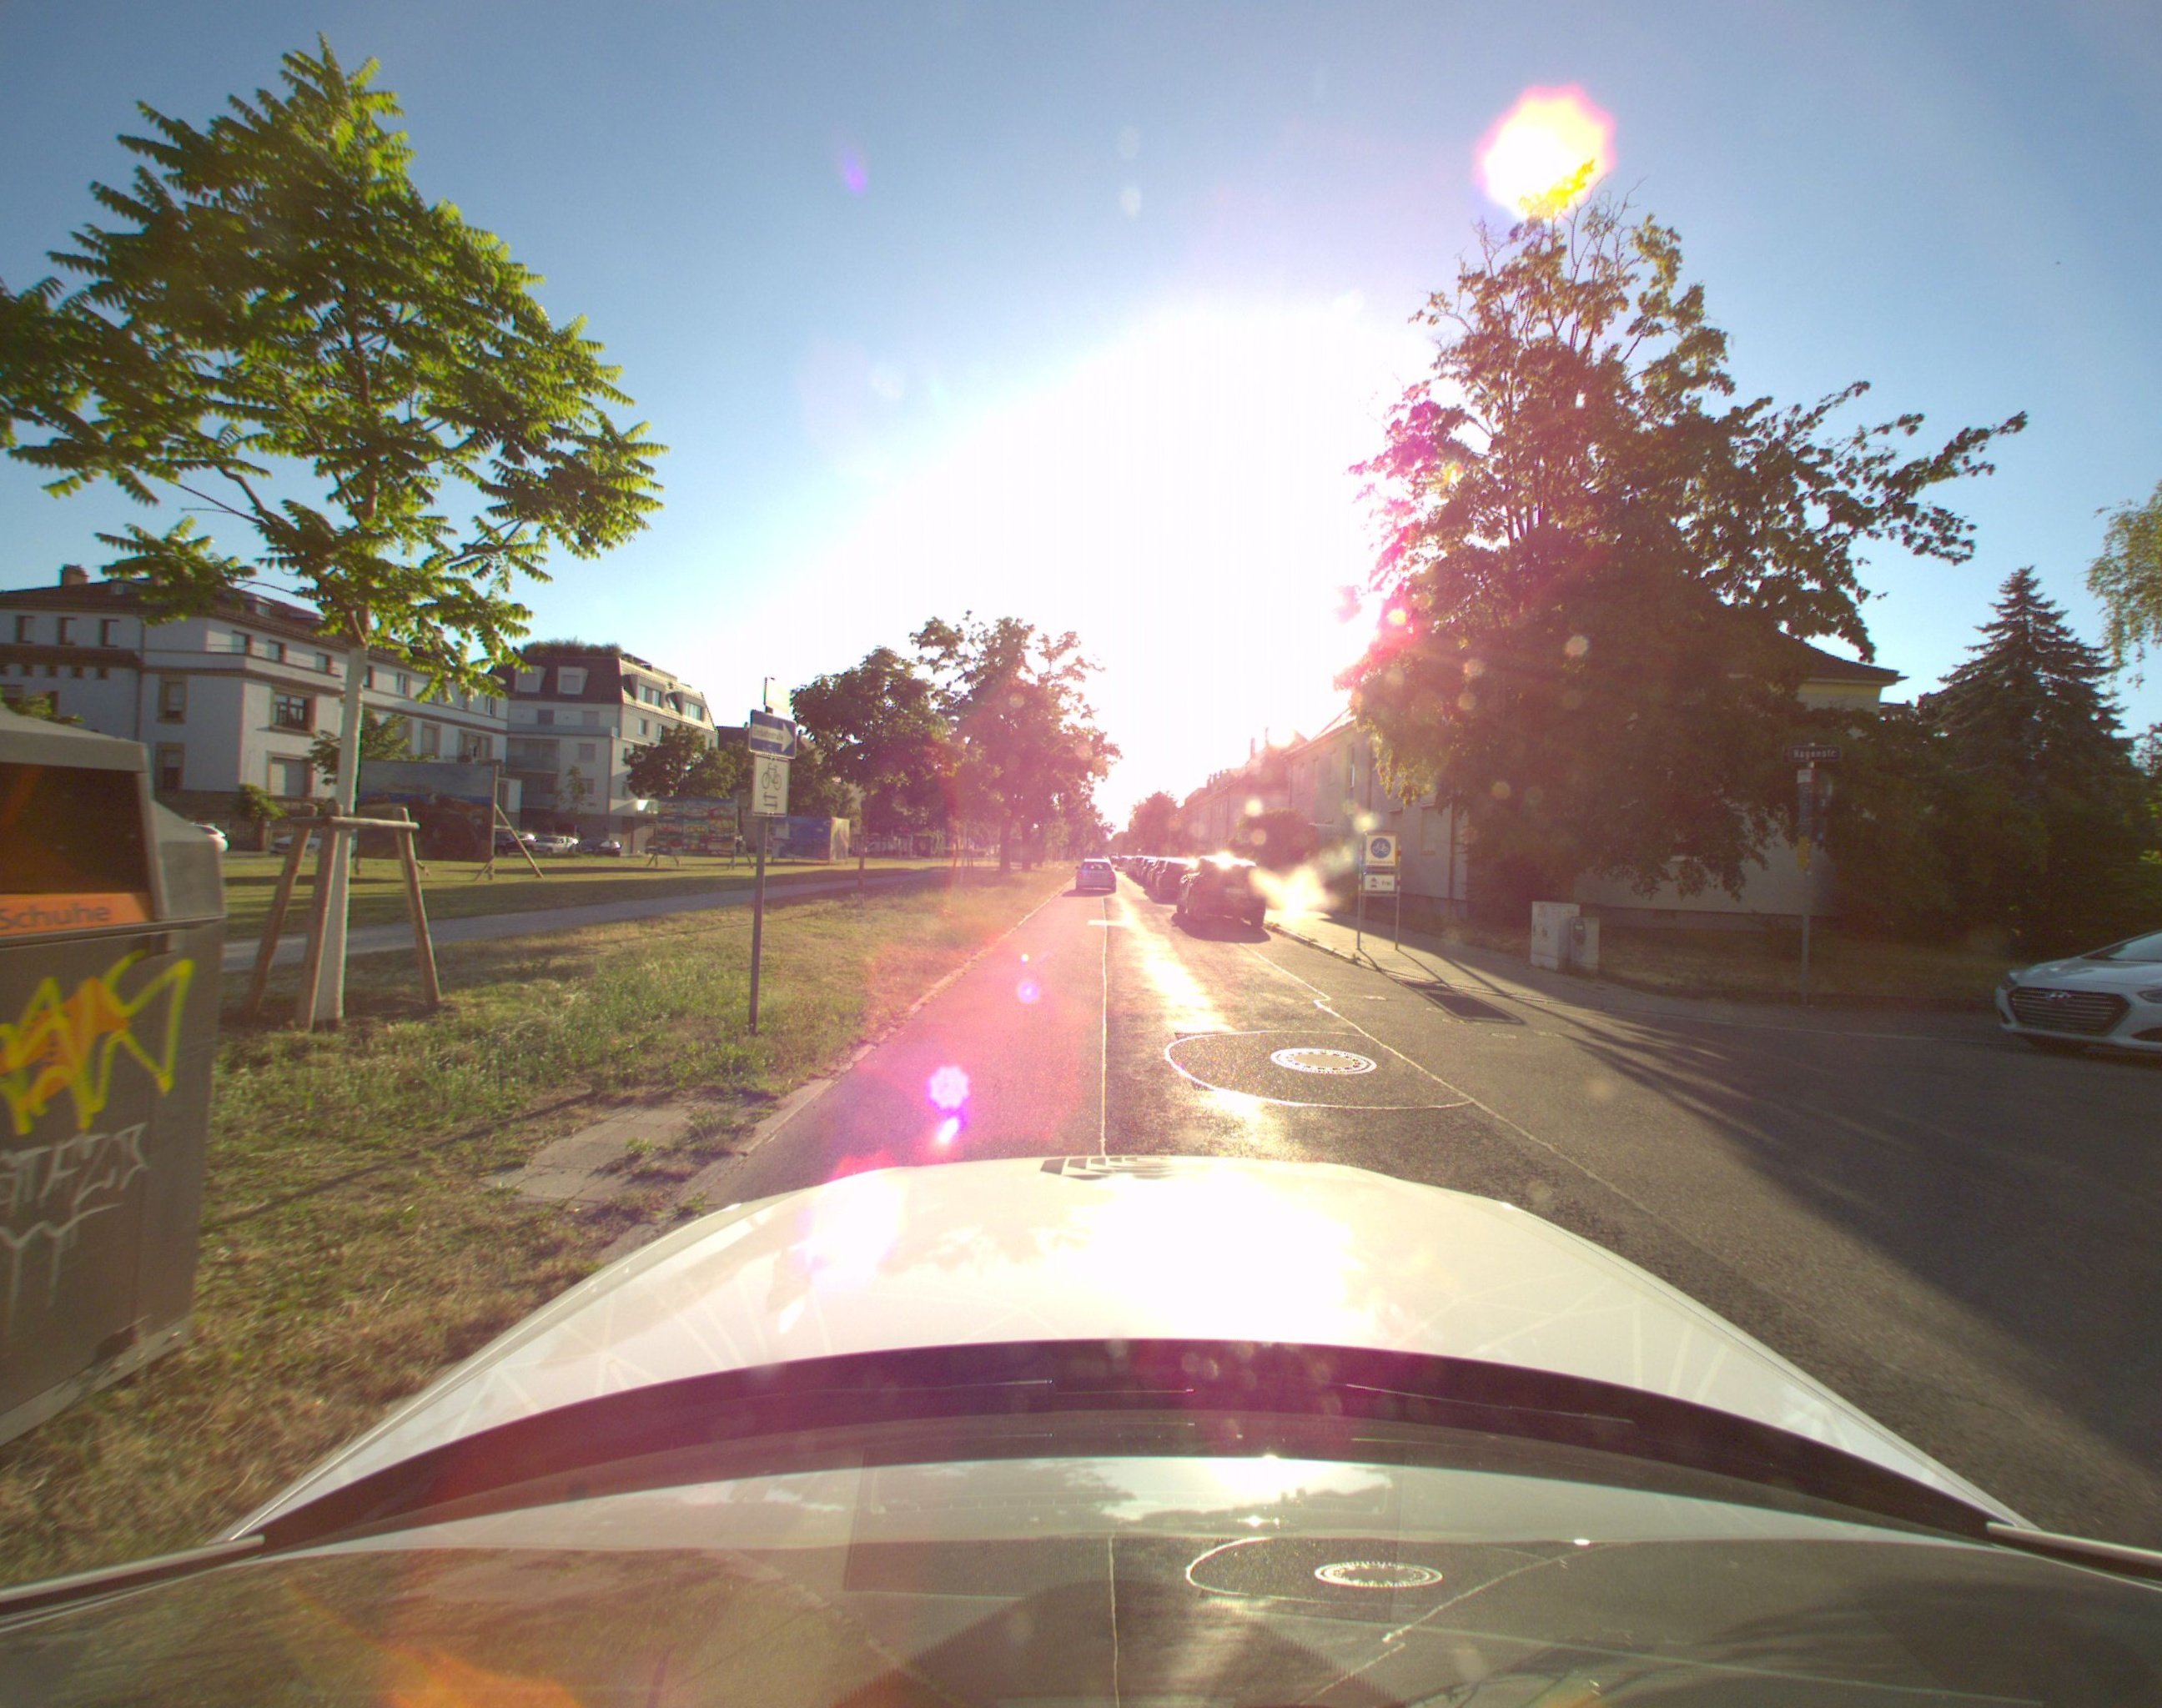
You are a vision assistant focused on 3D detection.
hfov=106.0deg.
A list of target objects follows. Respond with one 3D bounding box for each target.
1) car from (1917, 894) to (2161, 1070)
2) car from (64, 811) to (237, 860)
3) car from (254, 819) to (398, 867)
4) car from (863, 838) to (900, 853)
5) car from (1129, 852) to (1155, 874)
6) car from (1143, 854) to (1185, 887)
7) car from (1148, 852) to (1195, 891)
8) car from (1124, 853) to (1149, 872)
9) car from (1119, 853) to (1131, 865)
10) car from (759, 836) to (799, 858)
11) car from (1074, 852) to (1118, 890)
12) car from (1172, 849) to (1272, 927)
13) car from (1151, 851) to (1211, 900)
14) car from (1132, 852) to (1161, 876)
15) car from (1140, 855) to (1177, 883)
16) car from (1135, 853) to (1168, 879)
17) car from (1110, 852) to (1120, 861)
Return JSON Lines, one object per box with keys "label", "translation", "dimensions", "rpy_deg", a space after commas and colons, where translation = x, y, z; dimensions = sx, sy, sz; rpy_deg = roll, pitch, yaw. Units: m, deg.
{"label": "car", "translation": [11.559, 1.253, 7.903], "dimensions": [4.830, 1.486, 2.002], "rpy_deg": [3, -3, 0]}
{"label": "car", "translation": [-38.635, -0.708, 34.017], "dimensions": [1.724, 1.854, 4.715], "rpy_deg": [-1, -1, 1]}
{"label": "car", "translation": [-32.895, -0.411, 35.686], "dimensions": [1.826, 1.899, 4.645], "rpy_deg": [-1, -1, 3]}
{"label": "car", "translation": [-37.353, -1.576, 152.278], "dimensions": [6.332, 2.720, 1.984], "rpy_deg": [2, 0, -29]}
{"label": "car", "translation": [4.918, 0.722, 66.104], "dimensions": [1.771, 1.643, 4.757], "rpy_deg": [2, 0, 1]}
{"label": "car", "translation": [4.498, 0.879, 44.838], "dimensions": [1.723, 1.548, 4.206], "rpy_deg": [7, -1, 0]}
{"label": "car", "translation": [4.308, 0.787, 39.396], "dimensions": [1.847, 1.657, 4.822], "rpy_deg": [3, 0, 2]}
{"label": "car", "translation": [5.171, 0.760, 76.404], "dimensions": [1.712, 1.639, 4.561], "rpy_deg": [4, 0, -2]}
{"label": "car", "translation": [6.470, 0.729, 120.231], "dimensions": [1.715, 1.597, 4.002], "rpy_deg": [2, -1, 2]}
{"label": "car", "translation": [-31.256, -0.701, 84.418], "dimensions": [1.986, 2.057, 5.054], "rpy_deg": [-1, -1, 2]}
{"label": "car", "translation": [0.715, 0.704, 36.310], "dimensions": [1.816, 1.566, 4.002], "rpy_deg": [1, 0, 2]}
{"label": "car", "translation": [3.691, 0.846, 22.215], "dimensions": [1.826, 1.732, 5.033], "rpy_deg": [4, 0, 1]}
{"label": "car", "translation": [4.075, 0.837, 33.872], "dimensions": [1.926, 1.720, 4.622], "rpy_deg": [5, 0, 1]}
{"label": "car", "translation": [4.826, 0.725, 60.772], "dimensions": [1.759, 1.635, 4.765], "rpy_deg": [3, -1, 1]}
{"label": "car", "translation": [4.674, 0.882, 49.766], "dimensions": [1.985, 1.462, 4.565], "rpy_deg": [4, 0, 3]}
{"label": "car", "translation": [4.691, 0.781, 54.964], "dimensions": [1.720, 1.561, 4.414], "rpy_deg": [3, 0, -1]}
{"label": "car", "translation": [7.433, 0.571, 178.528], "dimensions": [1.981, 2.023, 4.002], "rpy_deg": [2, 0, 2]}
